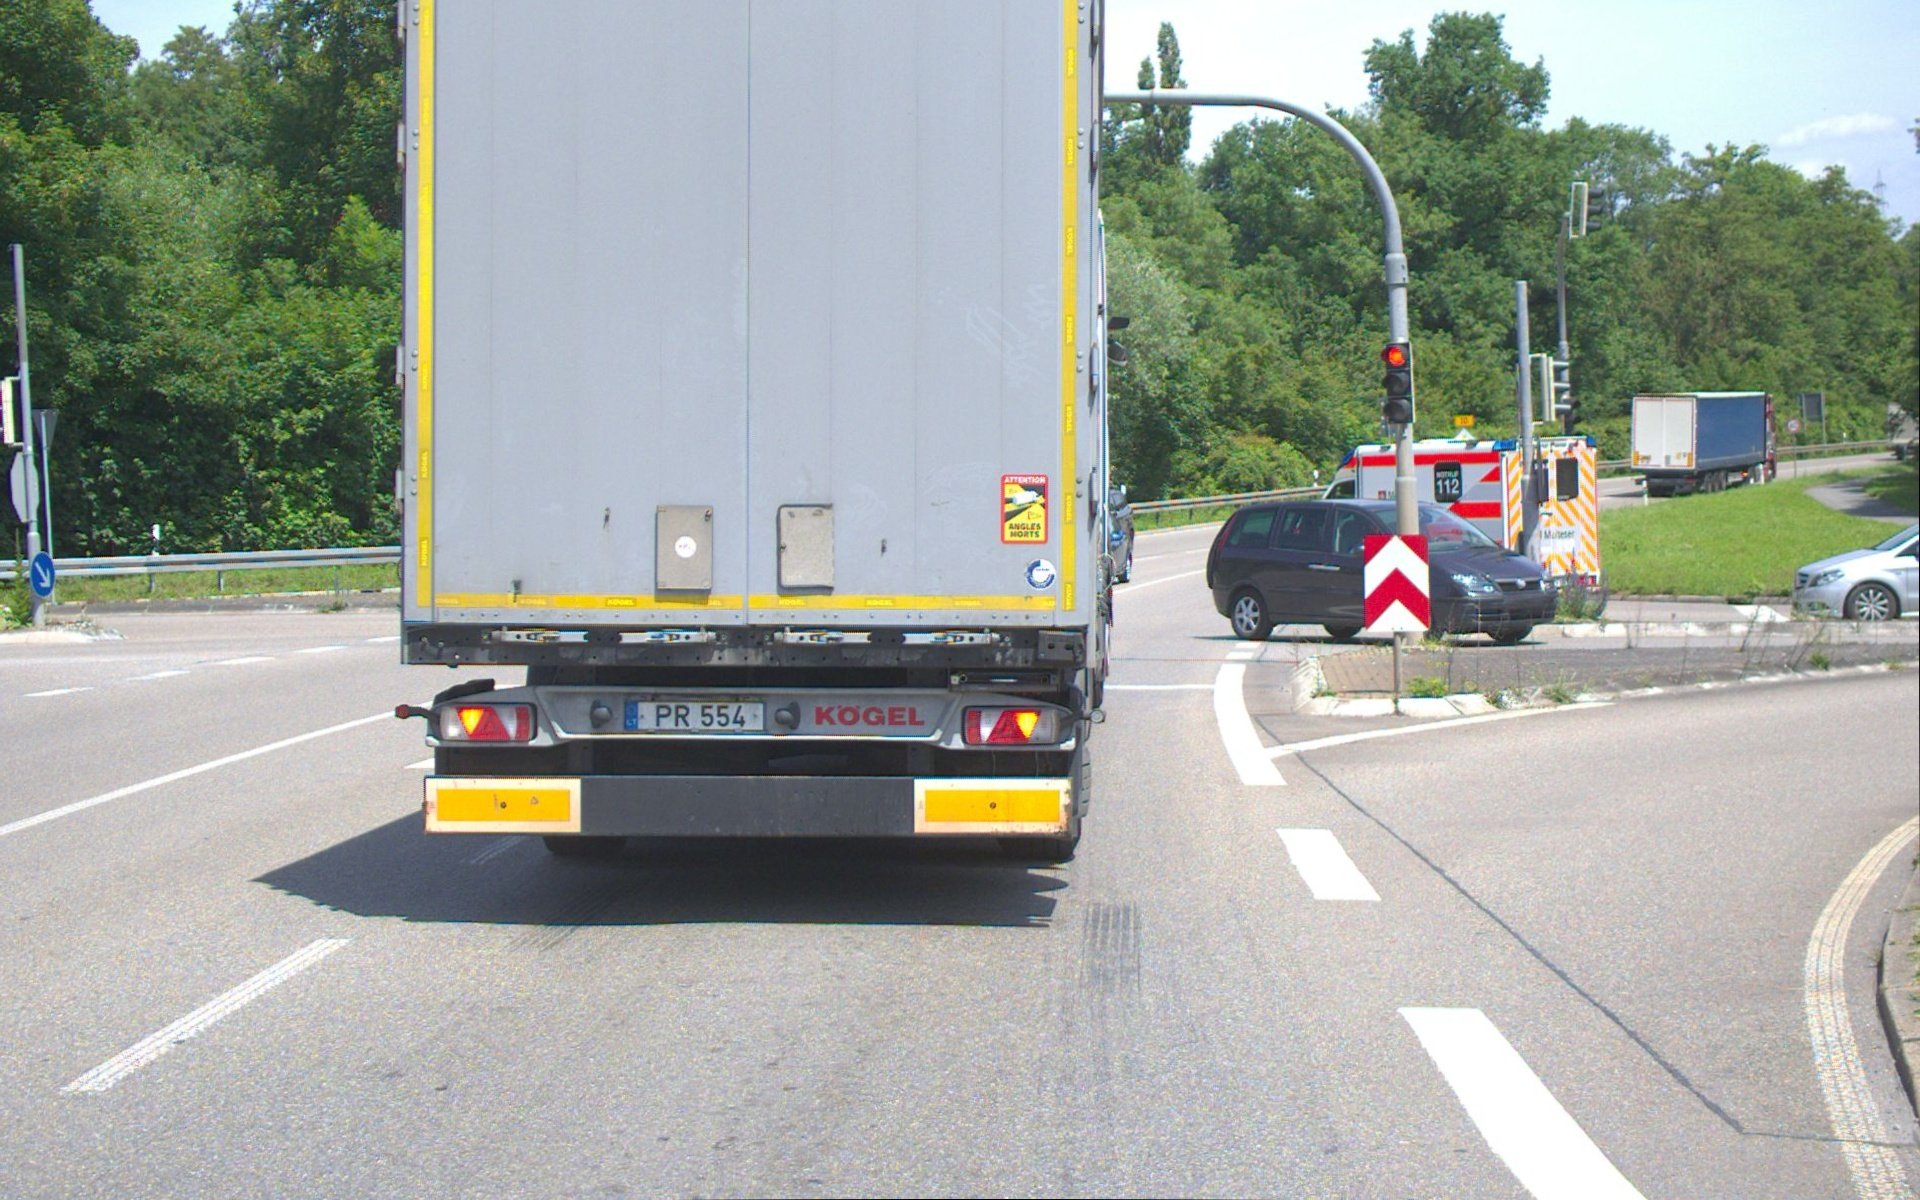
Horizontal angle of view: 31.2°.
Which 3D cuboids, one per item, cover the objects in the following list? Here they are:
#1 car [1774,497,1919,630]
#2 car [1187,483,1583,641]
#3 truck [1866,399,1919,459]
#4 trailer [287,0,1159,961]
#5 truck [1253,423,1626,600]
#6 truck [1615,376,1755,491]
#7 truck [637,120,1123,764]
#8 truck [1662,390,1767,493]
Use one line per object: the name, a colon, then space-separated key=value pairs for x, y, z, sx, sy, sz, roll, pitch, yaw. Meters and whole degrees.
car: x=13.280 y=-0.451 z=45.914 sx=4.428 sy=1.712 sz=1.999 roll=1 pitch=-1 yaw=5
car: x=5.091 y=-0.425 z=41.843 sx=1.994 sy=1.779 sz=4.942 roll=1 pitch=-1 yaw=-34
truck: x=49.176 y=-8.865 z=179.233 sx=2.858 sy=2.938 sz=7.097 roll=1 pitch=1 yaw=22
trailer: x=-0.616 y=-0.894 z=18.290 sx=3.052 sy=4.020 sz=12.559 roll=0 pitch=1 yaw=2
truck: x=7.846 y=-1.383 z=56.856 sx=2.494 sy=2.718 sz=6.029 roll=1 pitch=-1 yaw=-39
truck: x=29.383 y=-6.622 z=138.835 sx=3.183 sy=4.015 sz=11.730 roll=1 pitch=0 yaw=23
truck: x=-0.388 y=-1.058 z=24.842 sx=3.038 sy=4.020 sz=6.629 roll=0 pitch=1 yaw=2
truck: x=31.625 y=-6.597 z=143.983 sx=3.173 sy=3.991 sz=5.808 roll=1 pitch=0 yaw=23
